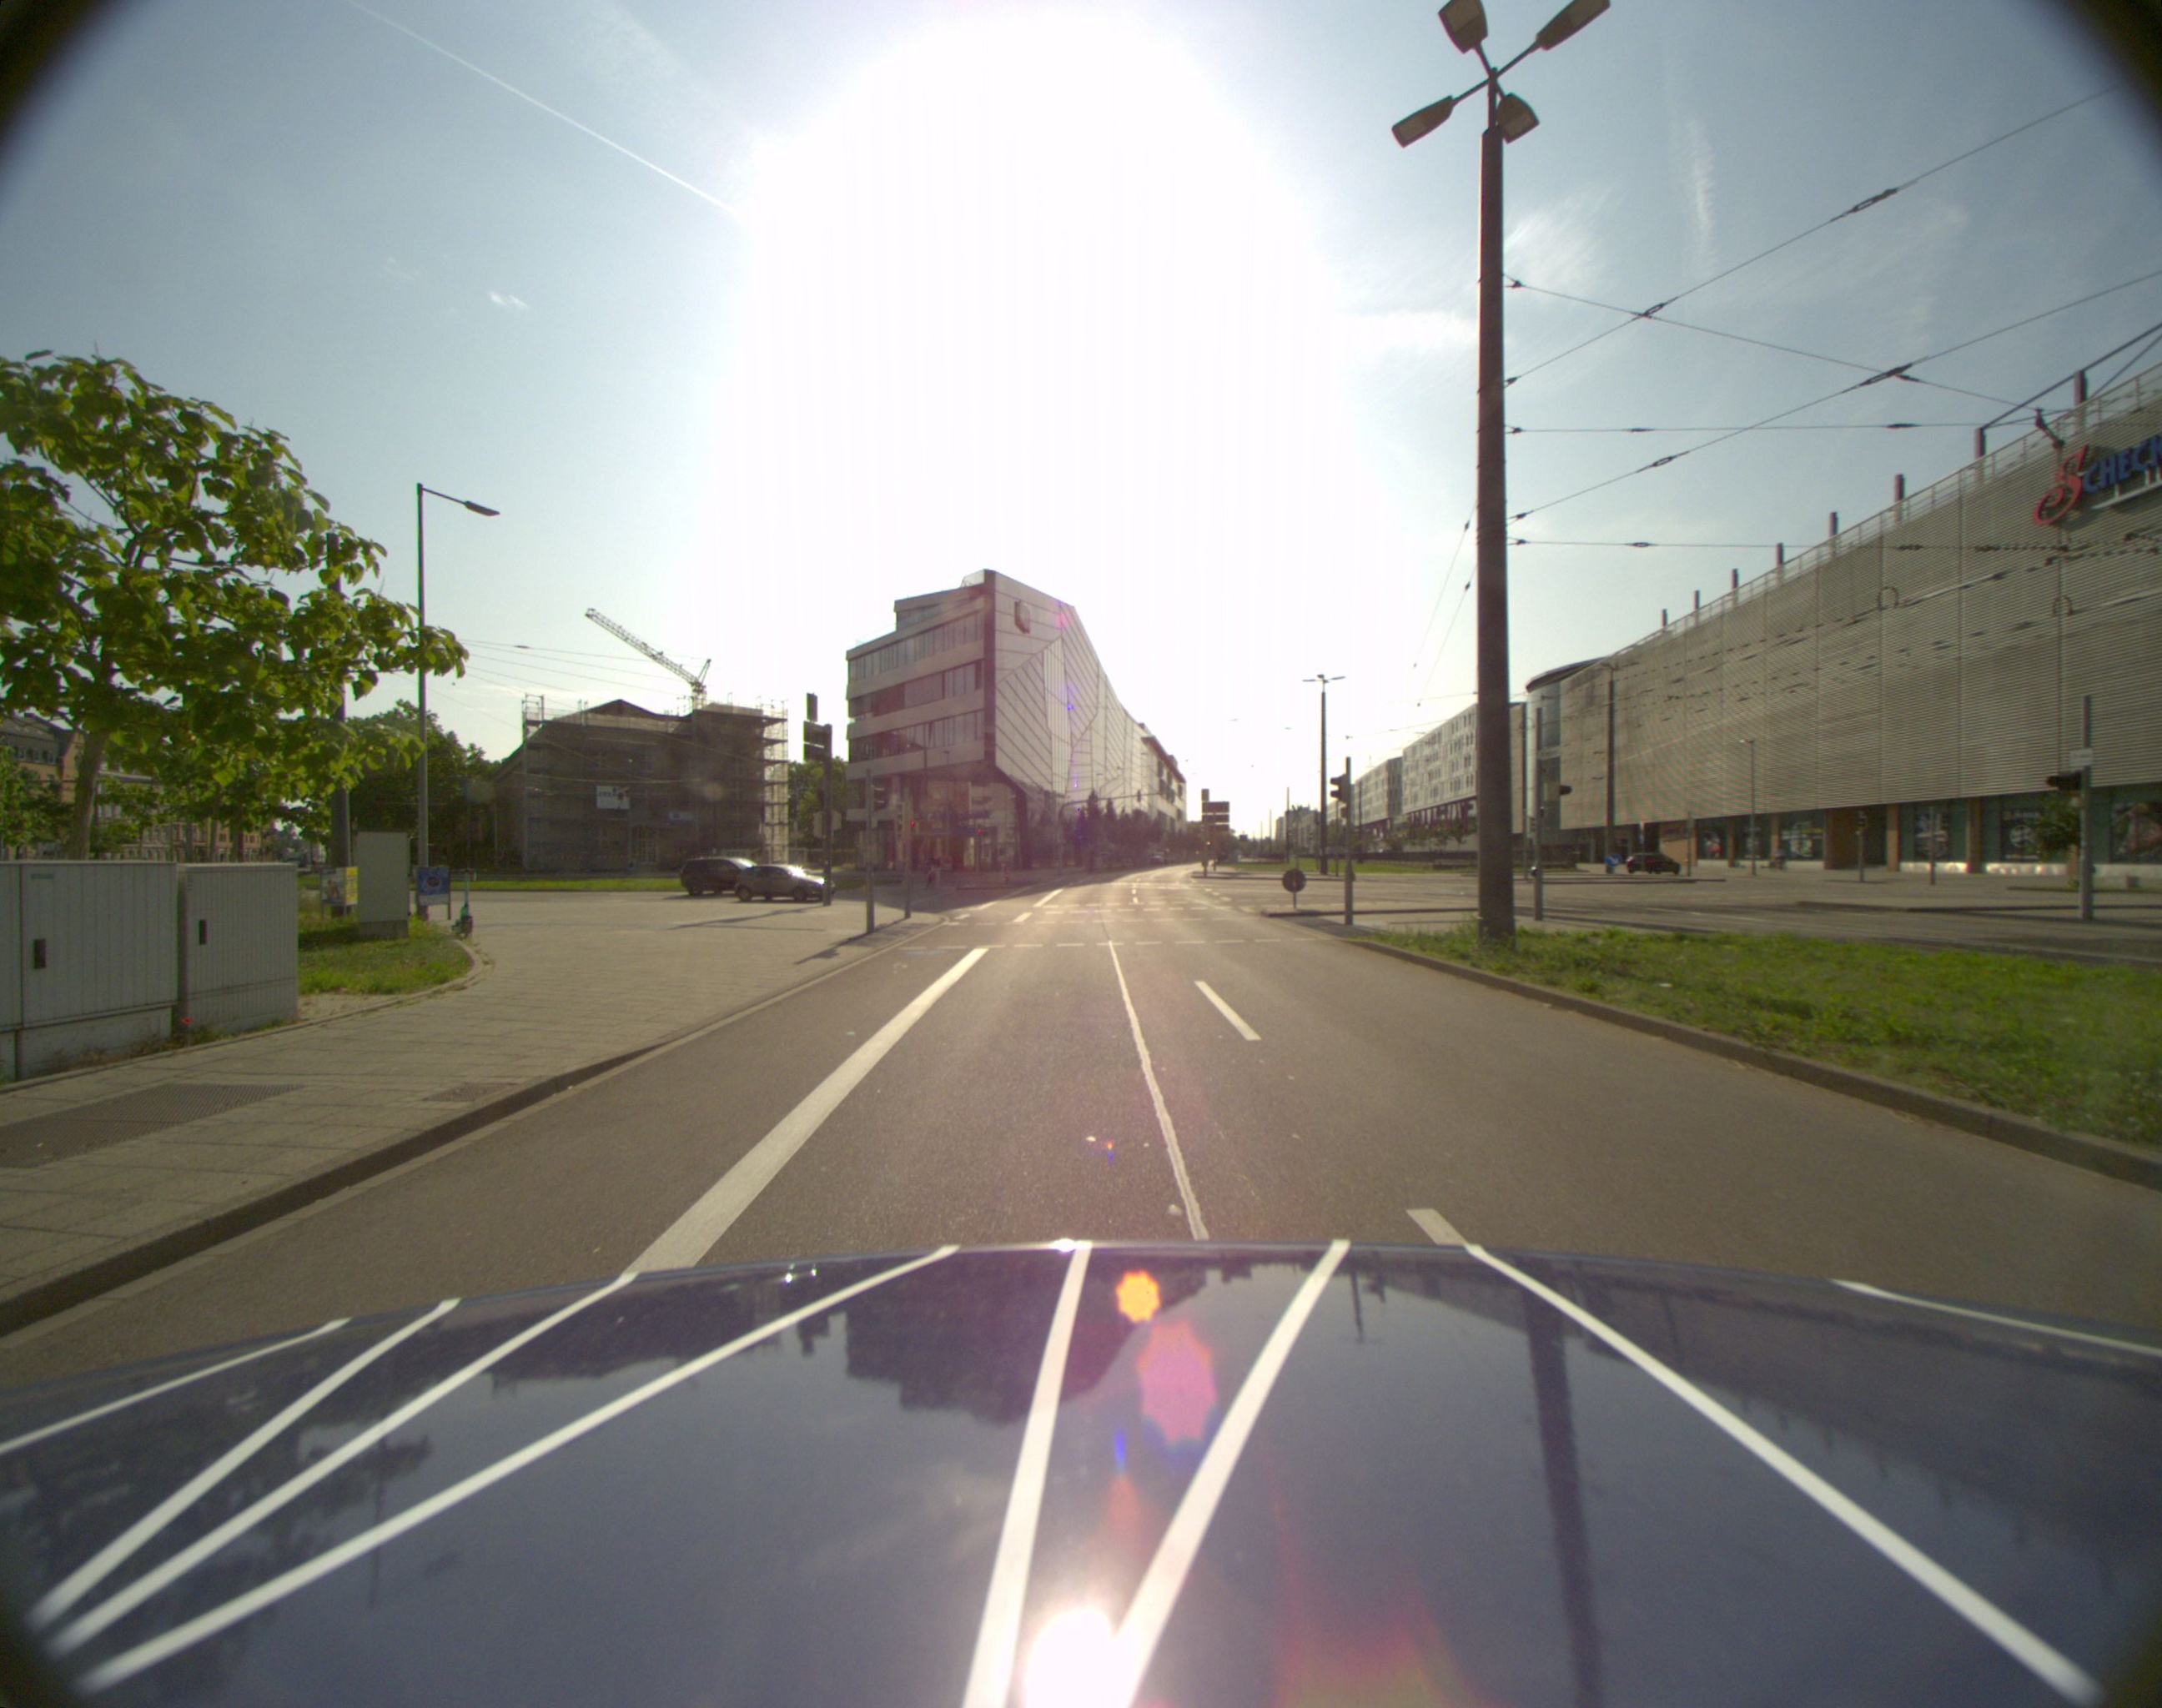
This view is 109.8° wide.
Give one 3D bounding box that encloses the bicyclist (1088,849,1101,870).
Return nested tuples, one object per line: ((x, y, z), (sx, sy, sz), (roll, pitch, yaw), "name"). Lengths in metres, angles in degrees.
((1.068, 0.439, 58.464), (0.782, 1.577, 0.933), (0, 2, 17), "bicyclist")

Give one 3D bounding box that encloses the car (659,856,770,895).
((-16.465, 0.959, 34.216), (4.214, 1.668, 1.804), (0, 0, 10), "car")

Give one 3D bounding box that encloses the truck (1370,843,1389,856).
((55.348, -0.776, 140.853), (2.205, 2.308, 4.553), (-1, 0, 6), "truck")

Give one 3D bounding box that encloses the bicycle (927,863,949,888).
((-6.736, 1.016, 35.942), (0.669, 1.092, 1.804), (0, 2, 1), "bicycle")

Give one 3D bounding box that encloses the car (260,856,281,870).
((-123.310, 1.383, 115.631), (2.004, 1.968, 3.988), (-2, 3, -45), "car")

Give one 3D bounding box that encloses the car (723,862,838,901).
((-11.739, 1.052, 29.786), (3.889, 1.411, 1.646), (0, 1, 10), "car")

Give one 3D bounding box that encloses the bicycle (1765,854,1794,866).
((48.010, 0.415, 52.257), (0.581, 0.775, 1.870), (0, 0, 11), "bicycle")

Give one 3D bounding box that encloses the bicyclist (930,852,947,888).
((-6.742, 0.743, 36.027), (0.669, 1.693, 0.637), (0, 2, 1), "bicyclist")

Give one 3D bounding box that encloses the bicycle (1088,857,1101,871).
((1.048, 0.755, 58.497), (0.418, 1.050, 1.962), (0, 2, 17), "bicycle")

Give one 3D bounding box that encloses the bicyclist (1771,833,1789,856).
((48.002, -0.656, 52.204), (0.568, 1.621, 0.714), (0, 2, 9), "bicyclist")

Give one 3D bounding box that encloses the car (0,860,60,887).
((-64.088, 1.170, 46.236), (3.864, 1.552, 2.004), (-1, 1, 41), "car")

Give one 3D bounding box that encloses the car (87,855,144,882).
((-73.325, 1.076, 57.767), (2.004, 2.002, 3.988), (-1, 1, -42), "car")
